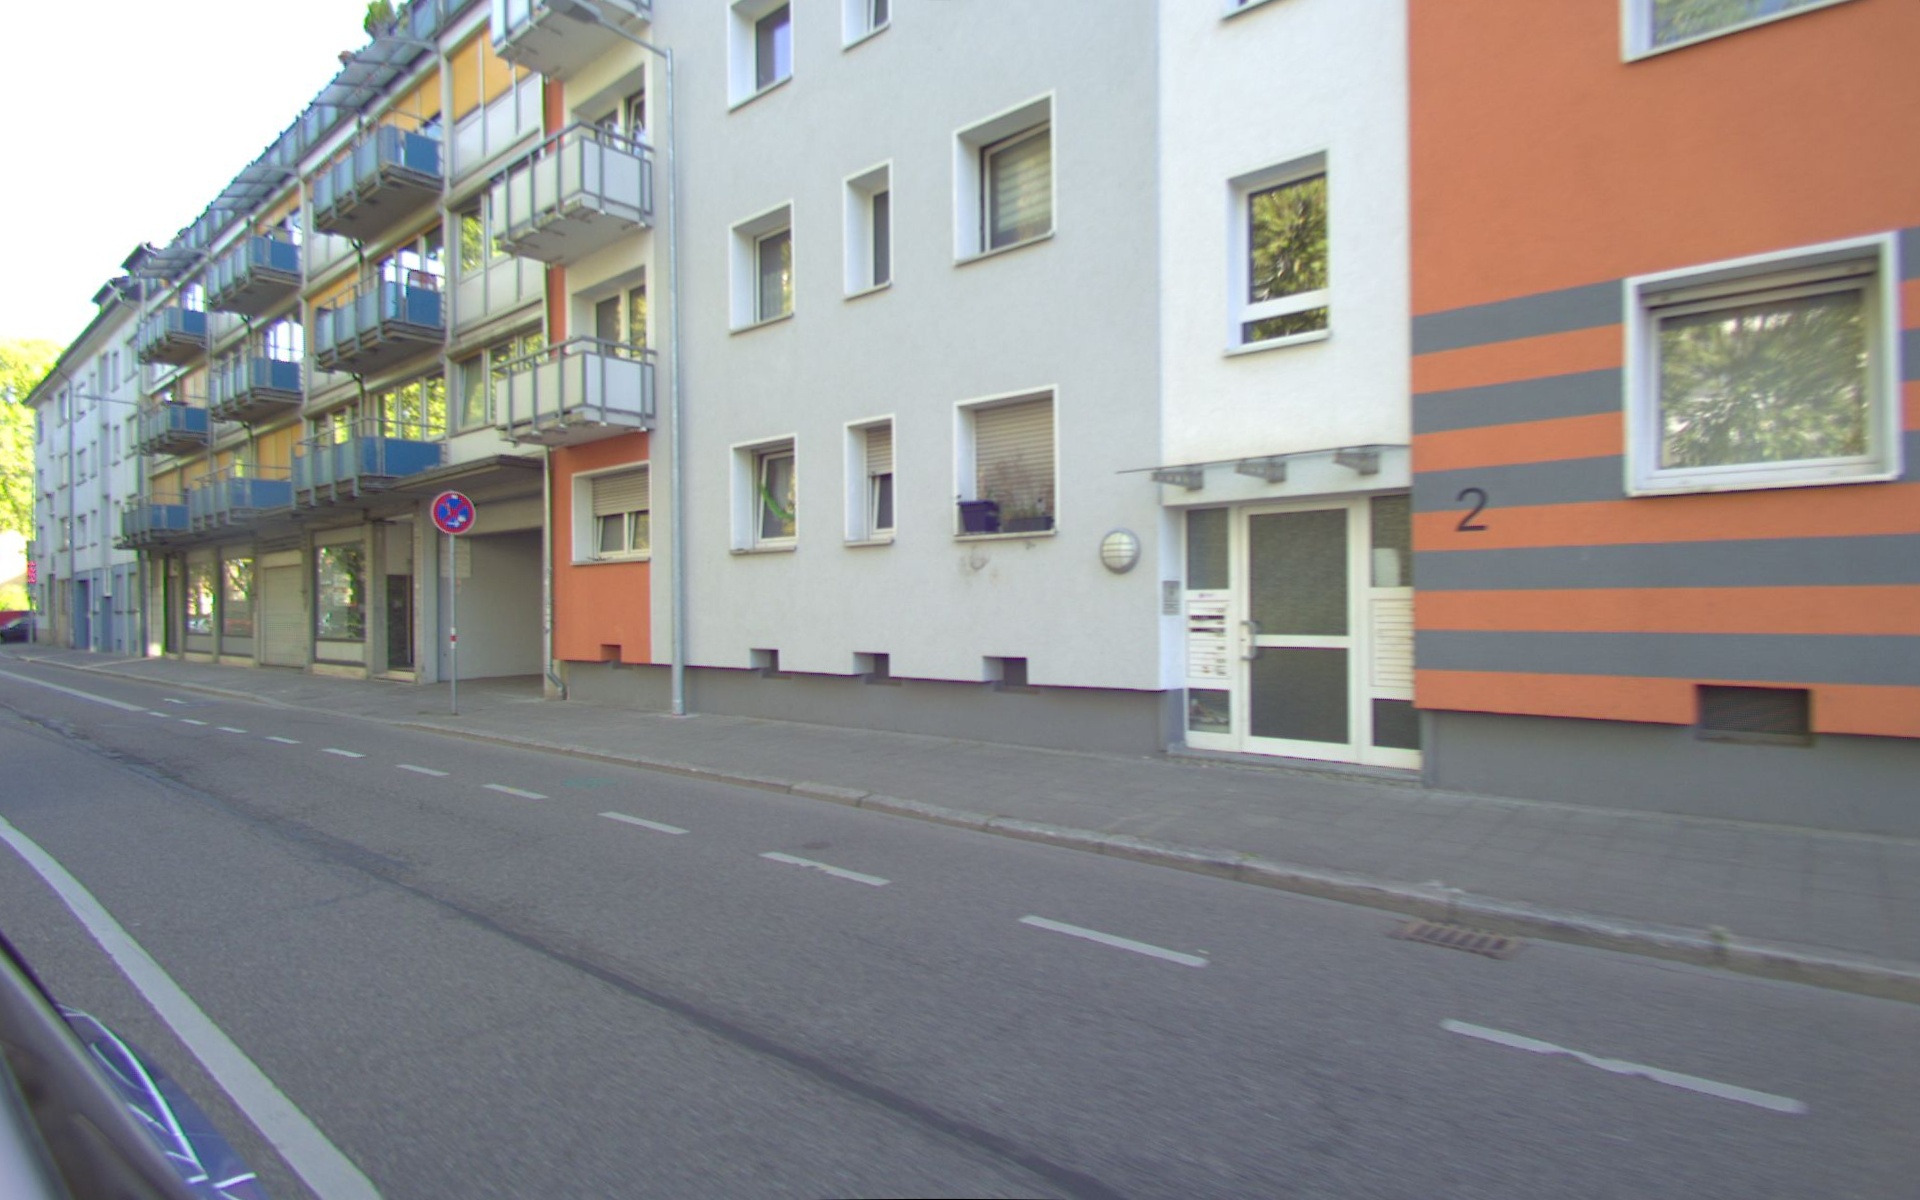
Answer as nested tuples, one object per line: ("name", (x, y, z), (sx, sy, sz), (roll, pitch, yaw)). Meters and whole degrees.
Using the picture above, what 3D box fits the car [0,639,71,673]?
("car", (-55.456, 3.299, 59.974), (1.829, 1.849, 3.948), (-1, 0, 39))

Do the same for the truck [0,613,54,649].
("truck", (-59.647, 1.933, 63.228), (1.876, 2.174, 4.349), (-1, 0, 39))
